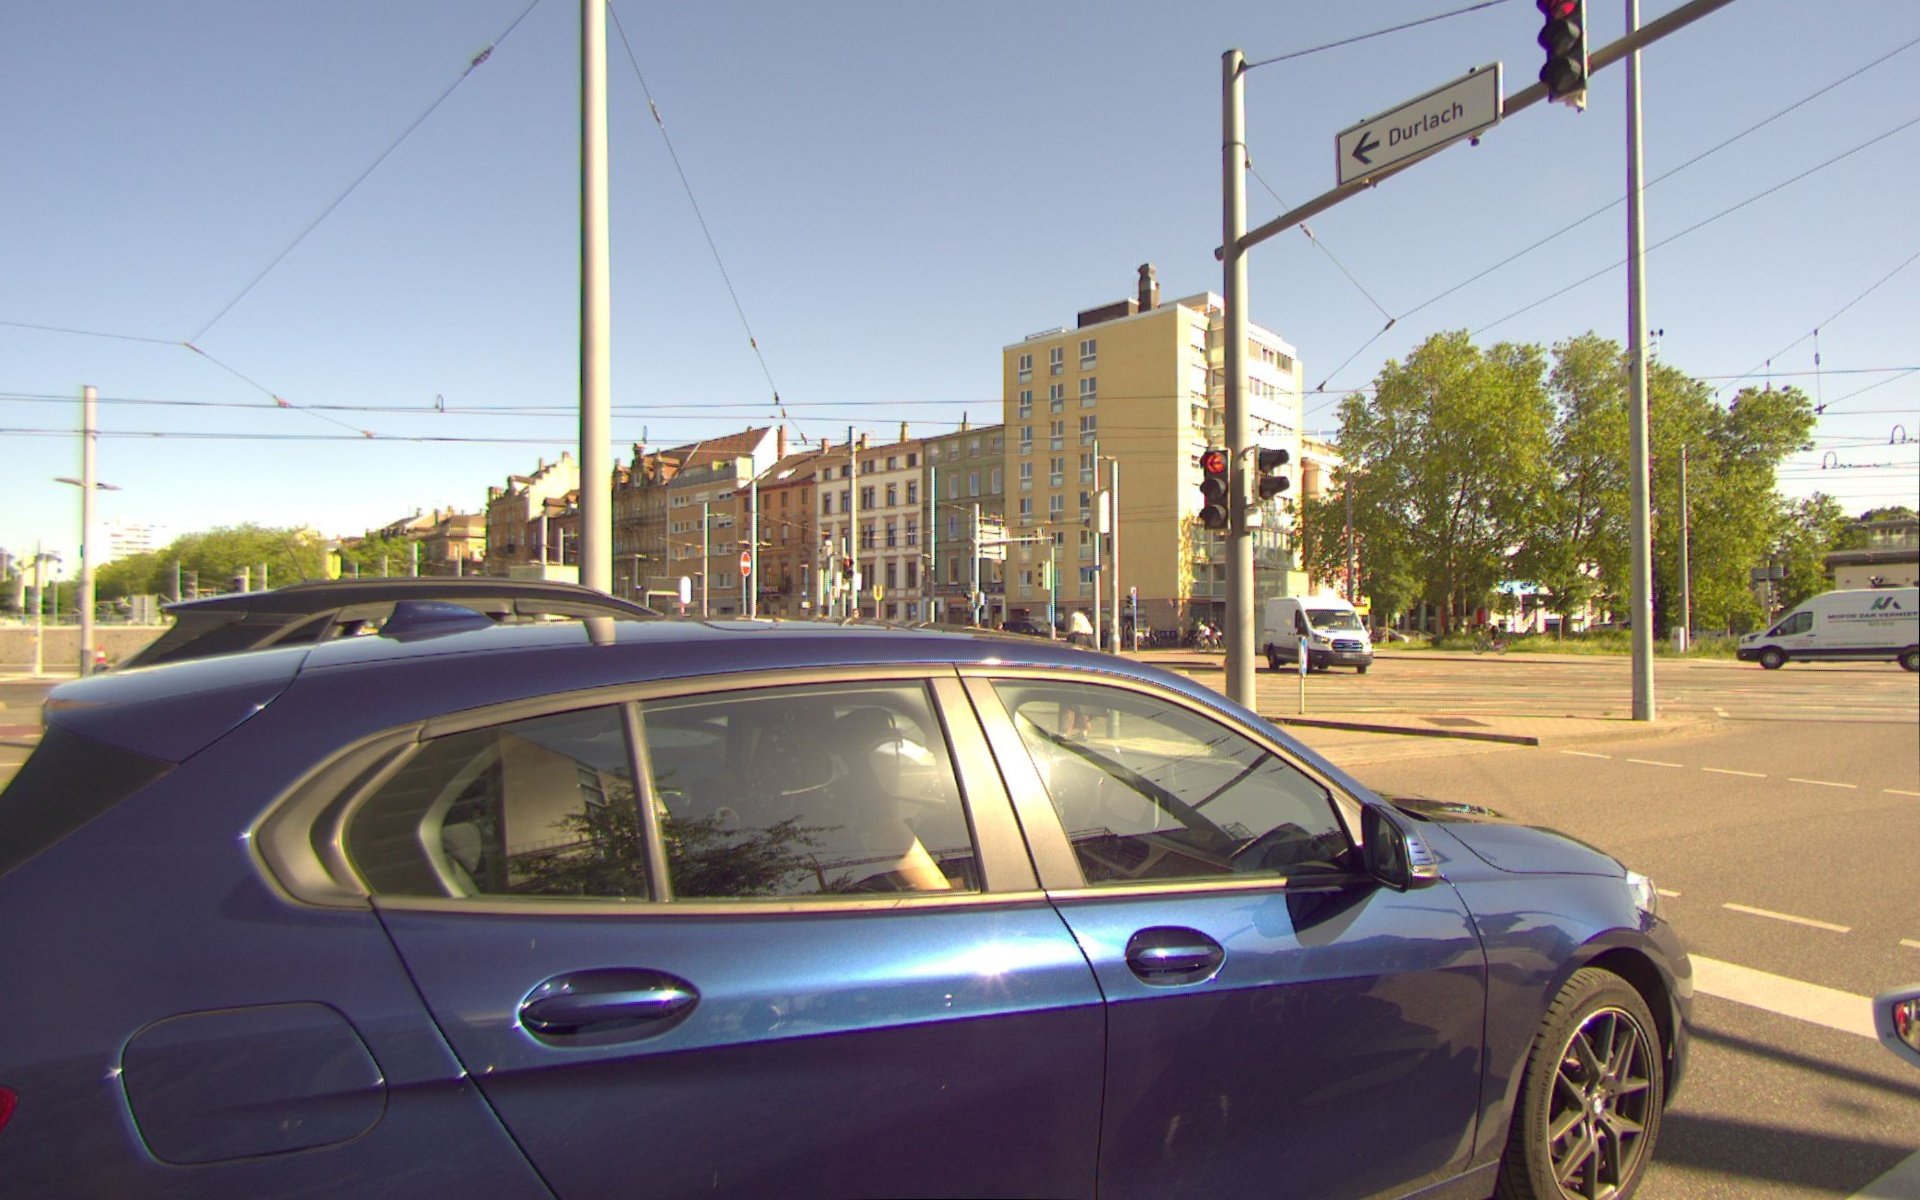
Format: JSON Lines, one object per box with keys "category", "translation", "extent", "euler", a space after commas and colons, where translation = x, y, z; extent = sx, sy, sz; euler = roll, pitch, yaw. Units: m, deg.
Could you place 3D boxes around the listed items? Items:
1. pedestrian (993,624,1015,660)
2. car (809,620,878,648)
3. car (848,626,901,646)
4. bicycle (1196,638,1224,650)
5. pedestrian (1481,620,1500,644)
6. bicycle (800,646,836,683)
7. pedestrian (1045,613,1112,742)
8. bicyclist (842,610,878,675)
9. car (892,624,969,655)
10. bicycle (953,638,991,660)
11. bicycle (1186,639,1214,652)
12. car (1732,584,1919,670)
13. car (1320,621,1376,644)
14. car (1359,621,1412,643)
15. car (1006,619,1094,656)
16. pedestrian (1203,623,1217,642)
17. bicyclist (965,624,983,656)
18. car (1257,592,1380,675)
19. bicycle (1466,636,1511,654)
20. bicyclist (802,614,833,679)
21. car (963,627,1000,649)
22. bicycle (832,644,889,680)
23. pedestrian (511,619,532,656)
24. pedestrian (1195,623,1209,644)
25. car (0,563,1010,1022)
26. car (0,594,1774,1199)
{"category": "pedestrian", "translation": [1.966, 1.883, 45.234], "extent": [0.669, 1.593, 0.740], "euler": [1, -2, -45]}
{"category": "car", "translation": [-7.202, 2.071, 62.075], "extent": [4.244, 1.675, 1.849], "euler": [-1, -2, 40]}
{"category": "car", "translation": [-6.310, 2.658, 74.424], "extent": [1.749, 1.446, 3.863], "euler": [-1, -2, 39]}
{"category": "bicycle", "translation": [15.248, 2.667, 61.241], "extent": [1.610, 0.727, 0.422], "euler": [-1, -2, 41]}
{"category": "pedestrian", "translation": [27.290, 1.659, 51.642], "extent": [0.784, 1.220, 0.558], "euler": [-1, -2, 38]}
{"category": "bicycle", "translation": [-3.689, 1.652, 26.039], "extent": [0.667, 0.890, 1.892], "euler": [0, -2, -16]}
{"category": "pedestrian", "translation": [1.484, 0.956, 12.598], "extent": [0.749, 1.575, 0.356], "euler": [0, -1, -20]}
{"category": "bicyclist", "translation": [-2.643, 1.121, 26.561], "extent": [0.672, 1.676, 0.777], "euler": [1, -1, -35]}
{"category": "car", "translation": [-1.666, 2.204, 56.417], "extent": [4.246, 1.675, 1.848], "euler": [-1, -2, 42]}
{"category": "bicycle", "translation": [0.546, 2.254, 46.219], "extent": [1.666, 0.958, 0.614], "euler": [1, -2, -30]}
{"category": "bicycle", "translation": [14.297, 2.699, 59.926], "extent": [1.609, 0.769, 0.422], "euler": [-1, -2, 39]}
{"category": "car", "translation": [30.477, 0.942, 34.771], "extent": [5.838, 2.780, 2.133], "euler": [-1, -2, 42]}
{"category": "car", "translation": [29.827, 2.476, 77.206], "extent": [3.691, 1.684, 1.586], "euler": [-1, -2, 42]}
{"category": "car", "translation": [34.812, 2.612, 82.241], "extent": [3.691, 1.684, 1.586], "euler": [-1, -2, 42]}
{"category": "car", "translation": [4.273, 1.777, 48.205], "extent": [1.857, 1.681, 4.020], "euler": [1, -2, -44]}
{"category": "pedestrian", "translation": [15.246, 1.981, 61.254], "extent": [0.739, 1.142, 0.422], "euler": [-1, -2, 41]}
{"category": "bicyclist", "translation": [0.633, 1.848, 46.286], "extent": [0.609, 1.462, 0.614], "euler": [1, -1, -30]}
{"category": "car", "translation": [11.782, 1.093, 33.479], "extent": [1.961, 2.541, 5.418], "euler": [0, -2, -3]}
{"category": "bicycle", "translation": [27.191, 2.316, 51.708], "extent": [1.980, 0.925, 0.560], "euler": [-1, -2, 39]}
{"category": "bicyclist", "translation": [-3.720, 1.201, 26.149], "extent": [0.668, 1.676, 0.782], "euler": [0, -1, -18]}
{"category": "car", "translation": [1.372, 2.498, 66.998], "extent": [1.745, 1.446, 3.873], "euler": [0, -2, -10]}
{"category": "bicycle", "translation": [-2.650, 1.630, 26.568], "extent": [0.672, 0.890, 1.880], "euler": [1, -2, -35]}
{"category": "pedestrian", "translation": [-20.327, 1.734, 46.558], "extent": [0.672, 1.735, 0.793], "euler": [1, -1, -38]}
{"category": "pedestrian", "translation": [14.419, 2.000, 59.843], "extent": [0.738, 1.220, 0.422], "euler": [-1, -2, 39]}
{"category": "car", "translation": [-1.892, 0.681, 5.065], "extent": [3.959, 1.537, 1.751], "euler": [1, -1, -28]}
{"category": "car", "translation": [0.101, 0.764, 2.522], "extent": [3.984, 1.464, 1.703], "euler": [1, 0, -30]}
